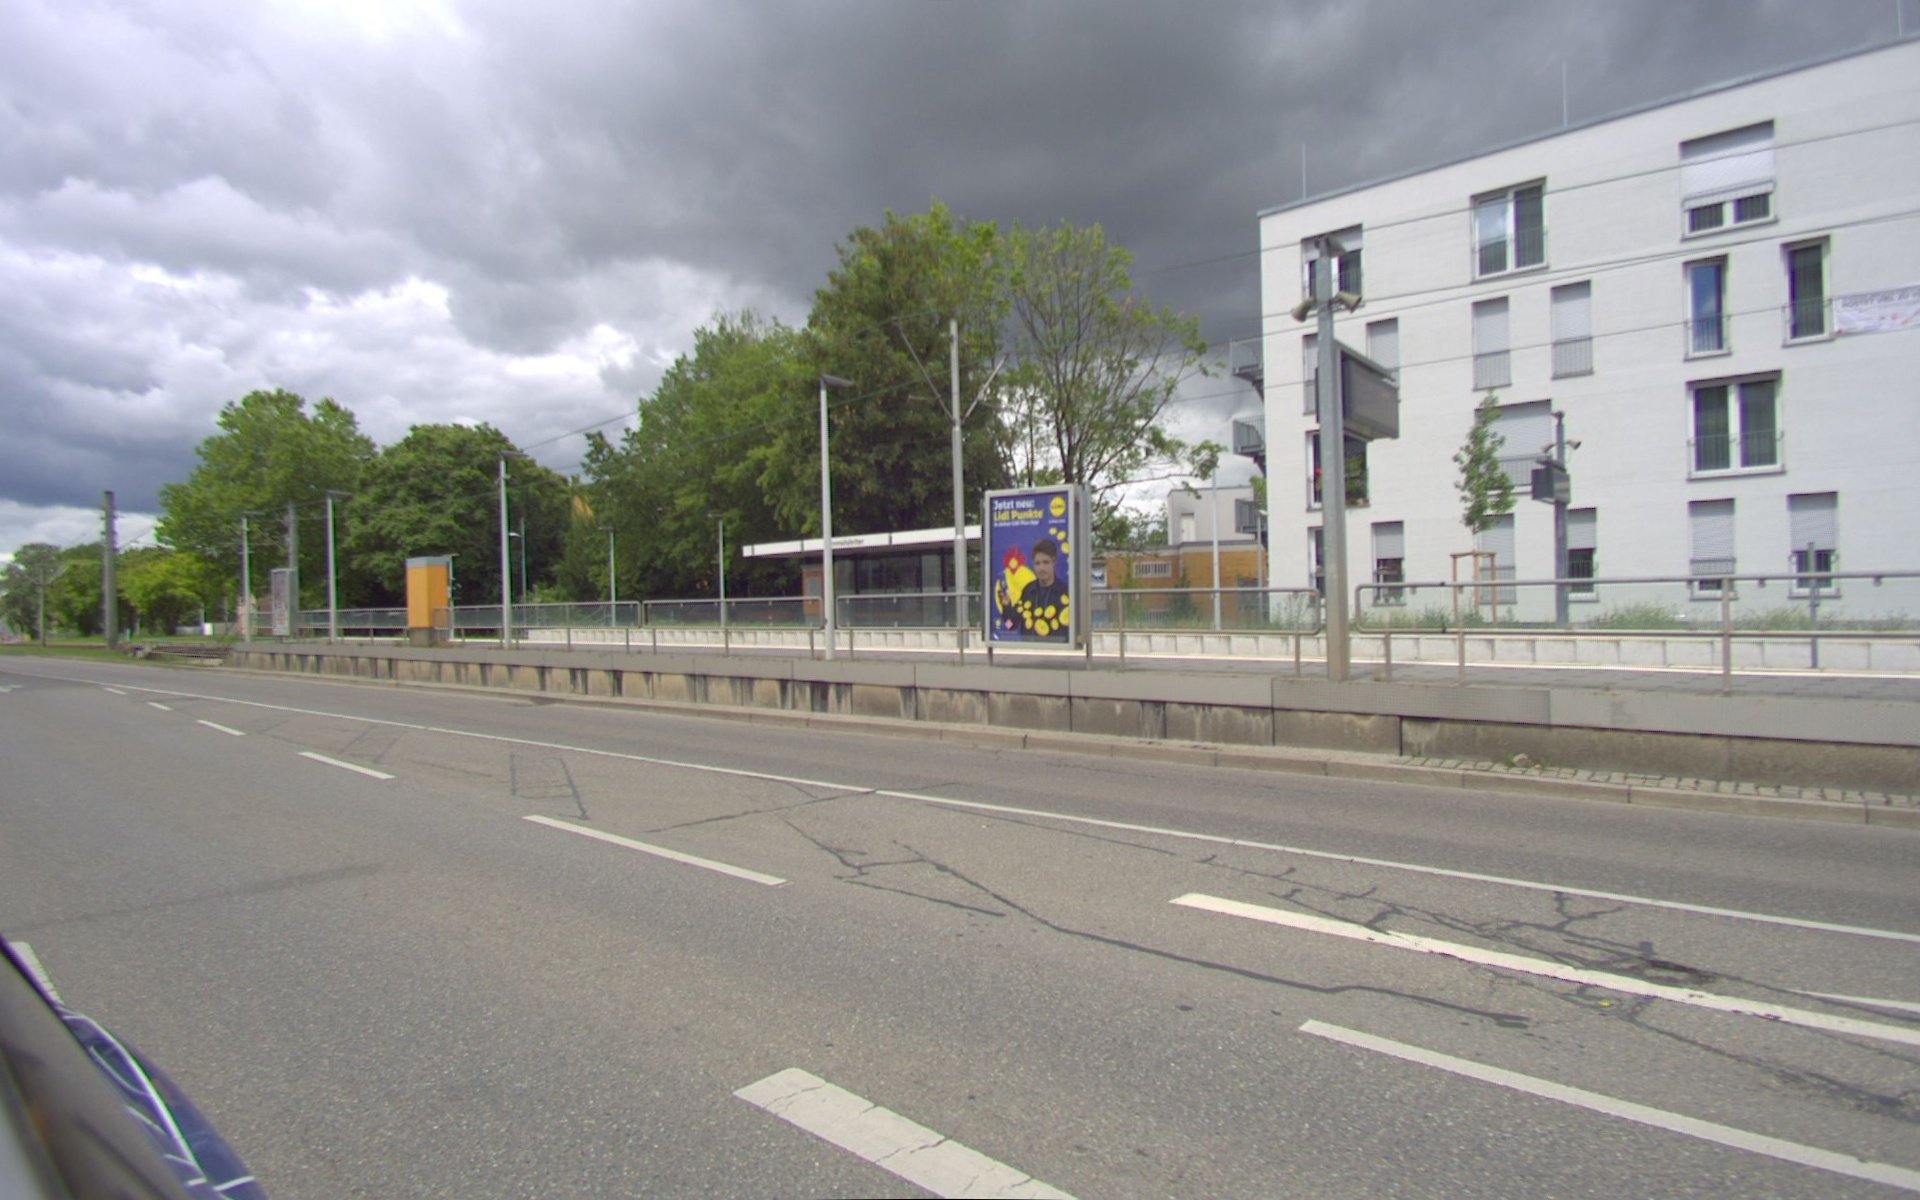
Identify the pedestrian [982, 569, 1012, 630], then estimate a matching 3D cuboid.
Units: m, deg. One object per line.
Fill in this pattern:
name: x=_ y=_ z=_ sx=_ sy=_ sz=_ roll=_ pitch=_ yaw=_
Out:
pedestrian: x=0.963 y=-0.023 z=26.155 sx=0.734 sy=1.542 sz=0.546 roll=-1 pitch=0 yaw=3
